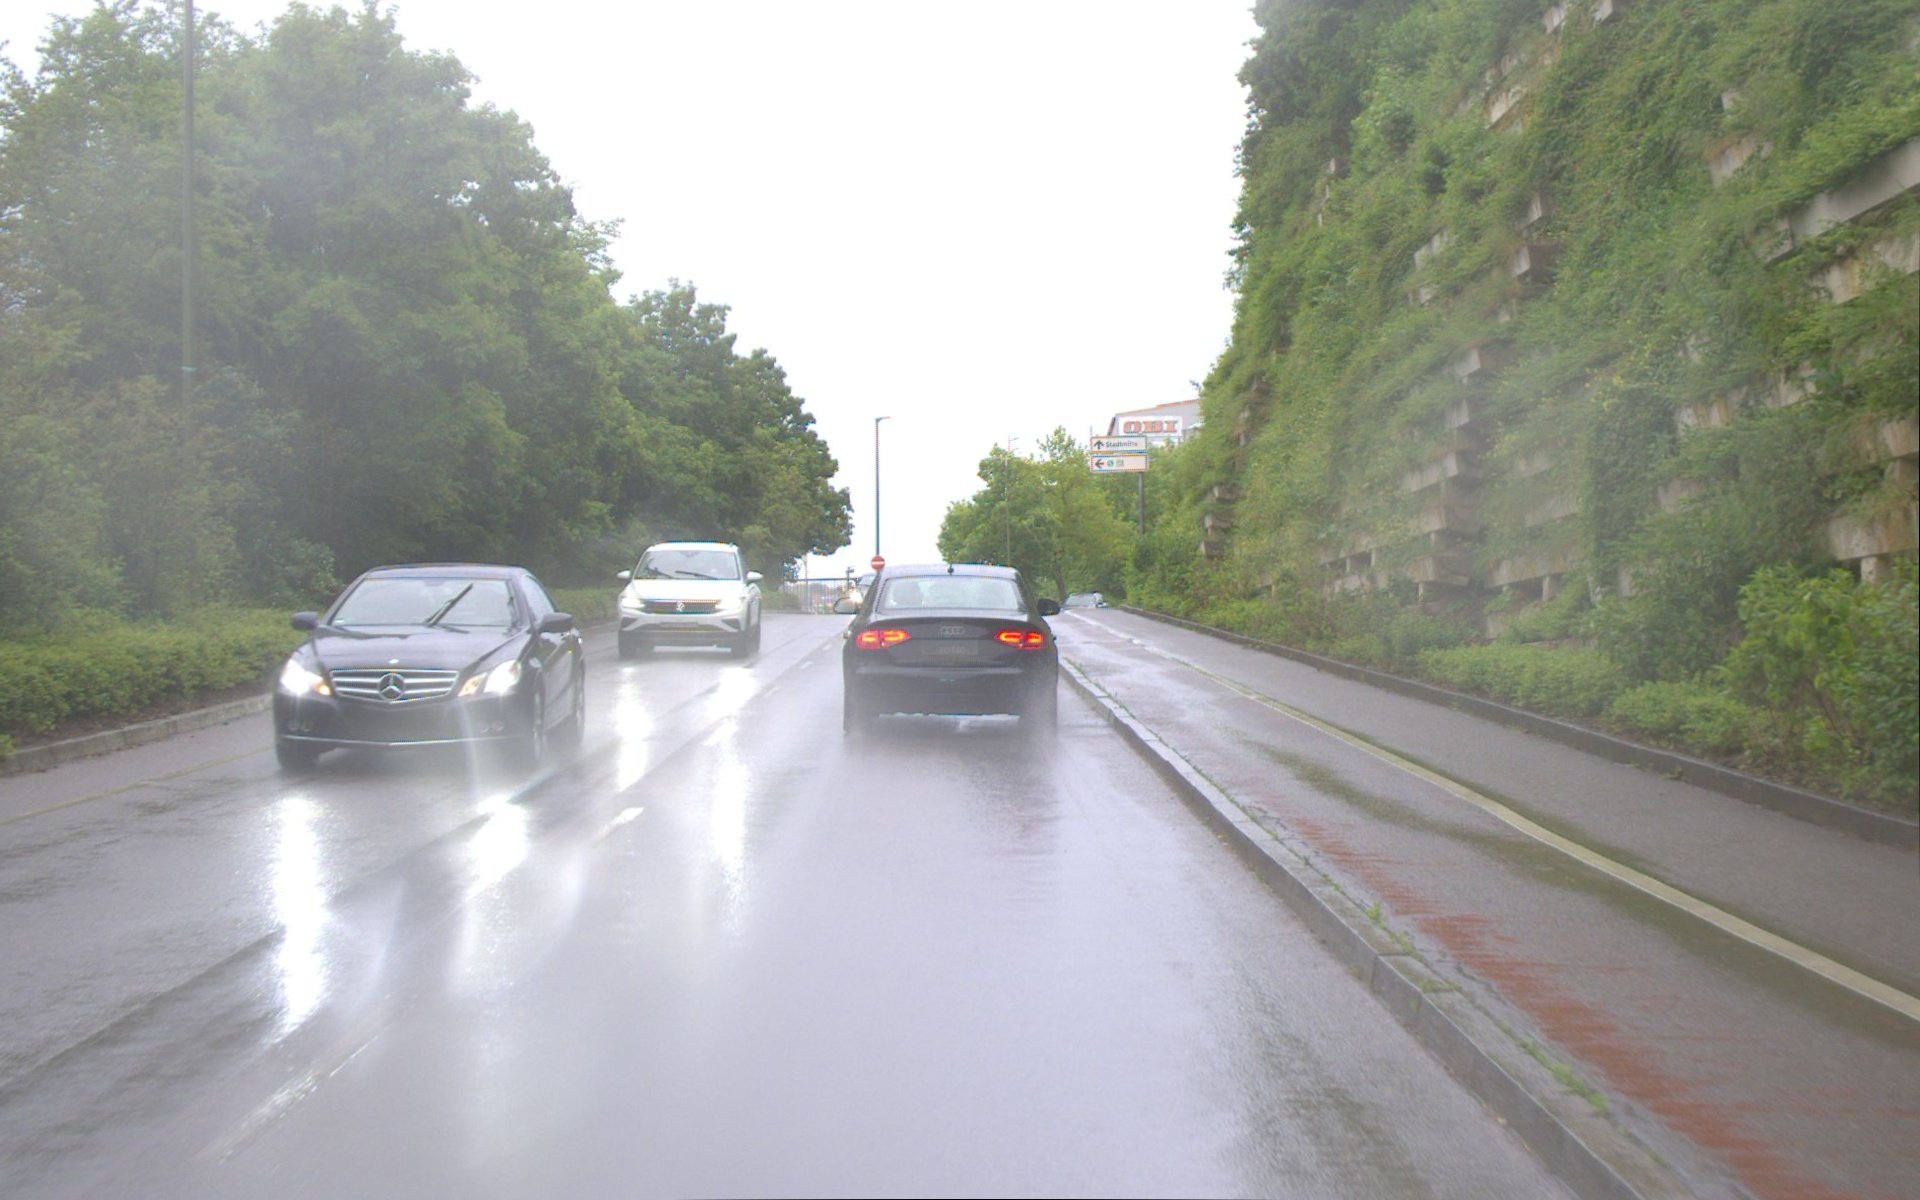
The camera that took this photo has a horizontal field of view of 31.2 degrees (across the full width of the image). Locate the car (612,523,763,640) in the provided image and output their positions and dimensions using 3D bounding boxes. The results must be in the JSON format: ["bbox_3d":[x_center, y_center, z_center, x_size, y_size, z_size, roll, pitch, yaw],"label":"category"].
[{"bbox_3d":[-3.893,-0.290,49.630,1.823,1.609,4.093,0,1,0],"label":"car"}]

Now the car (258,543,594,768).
[{"bbox_3d":[-3.749,0.329,24.825,1.865,1.444,4.378,-1,1,-2],"label":"car"}]

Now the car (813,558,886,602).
[{"bbox_3d":[-3.556,-0.663,111.174,1.994,1.359,4.251,1,1,3],"label":"car"}]

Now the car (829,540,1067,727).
[{"bbox_3d":[-0.042,0.229,29.410,1.893,1.487,4.207,0,1,1],"label":"car"}]
